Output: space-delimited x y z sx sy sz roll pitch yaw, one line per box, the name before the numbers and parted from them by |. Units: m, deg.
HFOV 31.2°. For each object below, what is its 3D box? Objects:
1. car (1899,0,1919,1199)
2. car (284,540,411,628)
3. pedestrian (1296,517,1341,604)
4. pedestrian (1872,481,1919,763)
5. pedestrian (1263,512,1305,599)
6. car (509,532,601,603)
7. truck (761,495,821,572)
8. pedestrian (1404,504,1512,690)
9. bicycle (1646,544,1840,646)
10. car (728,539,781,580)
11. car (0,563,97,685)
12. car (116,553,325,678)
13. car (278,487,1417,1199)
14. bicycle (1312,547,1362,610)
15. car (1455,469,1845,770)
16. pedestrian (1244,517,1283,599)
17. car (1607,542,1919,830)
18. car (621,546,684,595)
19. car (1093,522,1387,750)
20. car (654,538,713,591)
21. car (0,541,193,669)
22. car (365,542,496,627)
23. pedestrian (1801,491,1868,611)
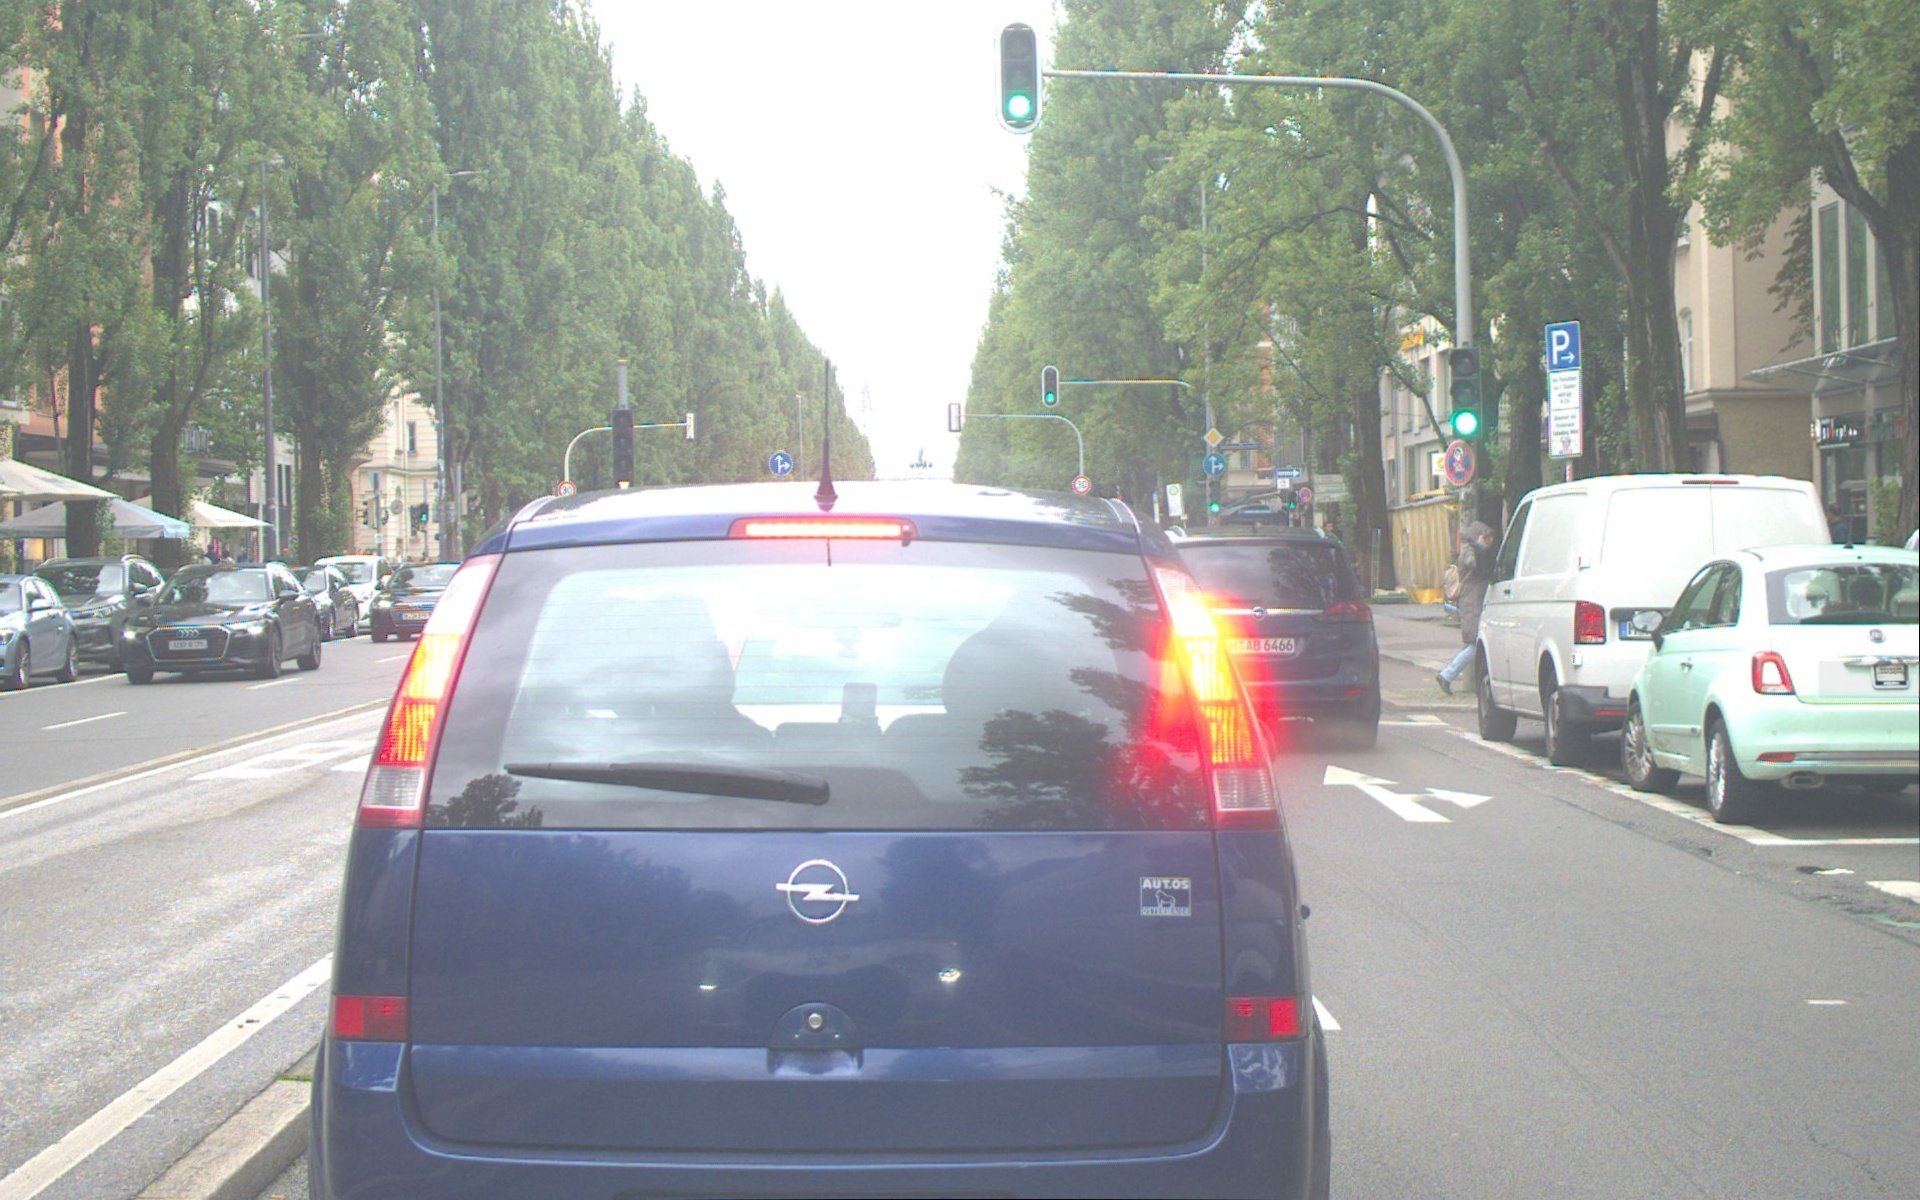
car | 2.468 0.241 1.817 2.063 2.484 6.730 0 1 0
car | -12.614 -0.357 70.997 1.866 1.660 4.120 -2 1 -1
pedestrian | 7.593 -0.830 72.829 0.719 1.820 0.888 1 0 -10
pedestrian | 6.338 0.126 21.969 0.827 1.767 0.870 -1 1 5
pedestrian | 6.852 -0.949 72.655 0.636 1.820 0.888 1 0 -10
car | -9.783 -0.801 83.362 1.770 1.629 4.456 -2 1 -1
truck | -7.583 -2.998 154.687 2.383 3.335 7.111 -1 1 -1
pedestrian | 4.562 -0.031 31.529 0.859 1.678 0.627 -1 1 -3
bicycle | 9.690 -0.061 42.580 2.227 1.200 0.626 -1 1 -2
car | -7.475 -1.490 125.009 1.735 1.460 3.365 -1 1 -1
car | -12.258 0.297 43.263 1.733 1.421 4.144 -2 1 -1
car | -9.574 0.159 44.823 1.697 1.457 4.713 -2 1 -1
car | -0.178 0.578 7.058 1.671 1.563 4.000 0 1 0
bicycle | 8.247 -0.486 75.260 0.772 1.344 2.449 -1 1 -1
car | 4.814 0.080 24.651 1.787 1.939 4.731 0 1 -1
pedestrian | 6.790 -0.945 76.898 0.636 1.820 0.888 1 0 -10
car | 4.775 0.416 19.528 1.541 1.487 3.523 0 1 0
car | -10.791 -1.050 120.953 1.866 1.660 4.120 -1 1 -1
car | 2.056 0.216 26.334 1.896 1.616 4.000 0 1 0
car | -10.623 -1.381 132.205 1.993 2.007 4.000 -1 1 -1
car | -12.345 0.039 48.911 1.866 1.660 4.401 -2 1 -1
car | -9.674 -0.308 63.093 1.745 1.429 4.130 -2 1 -1
pedestrian | 12.500 -0.698 49.163 0.673 1.680 0.759 -2 0 -5
